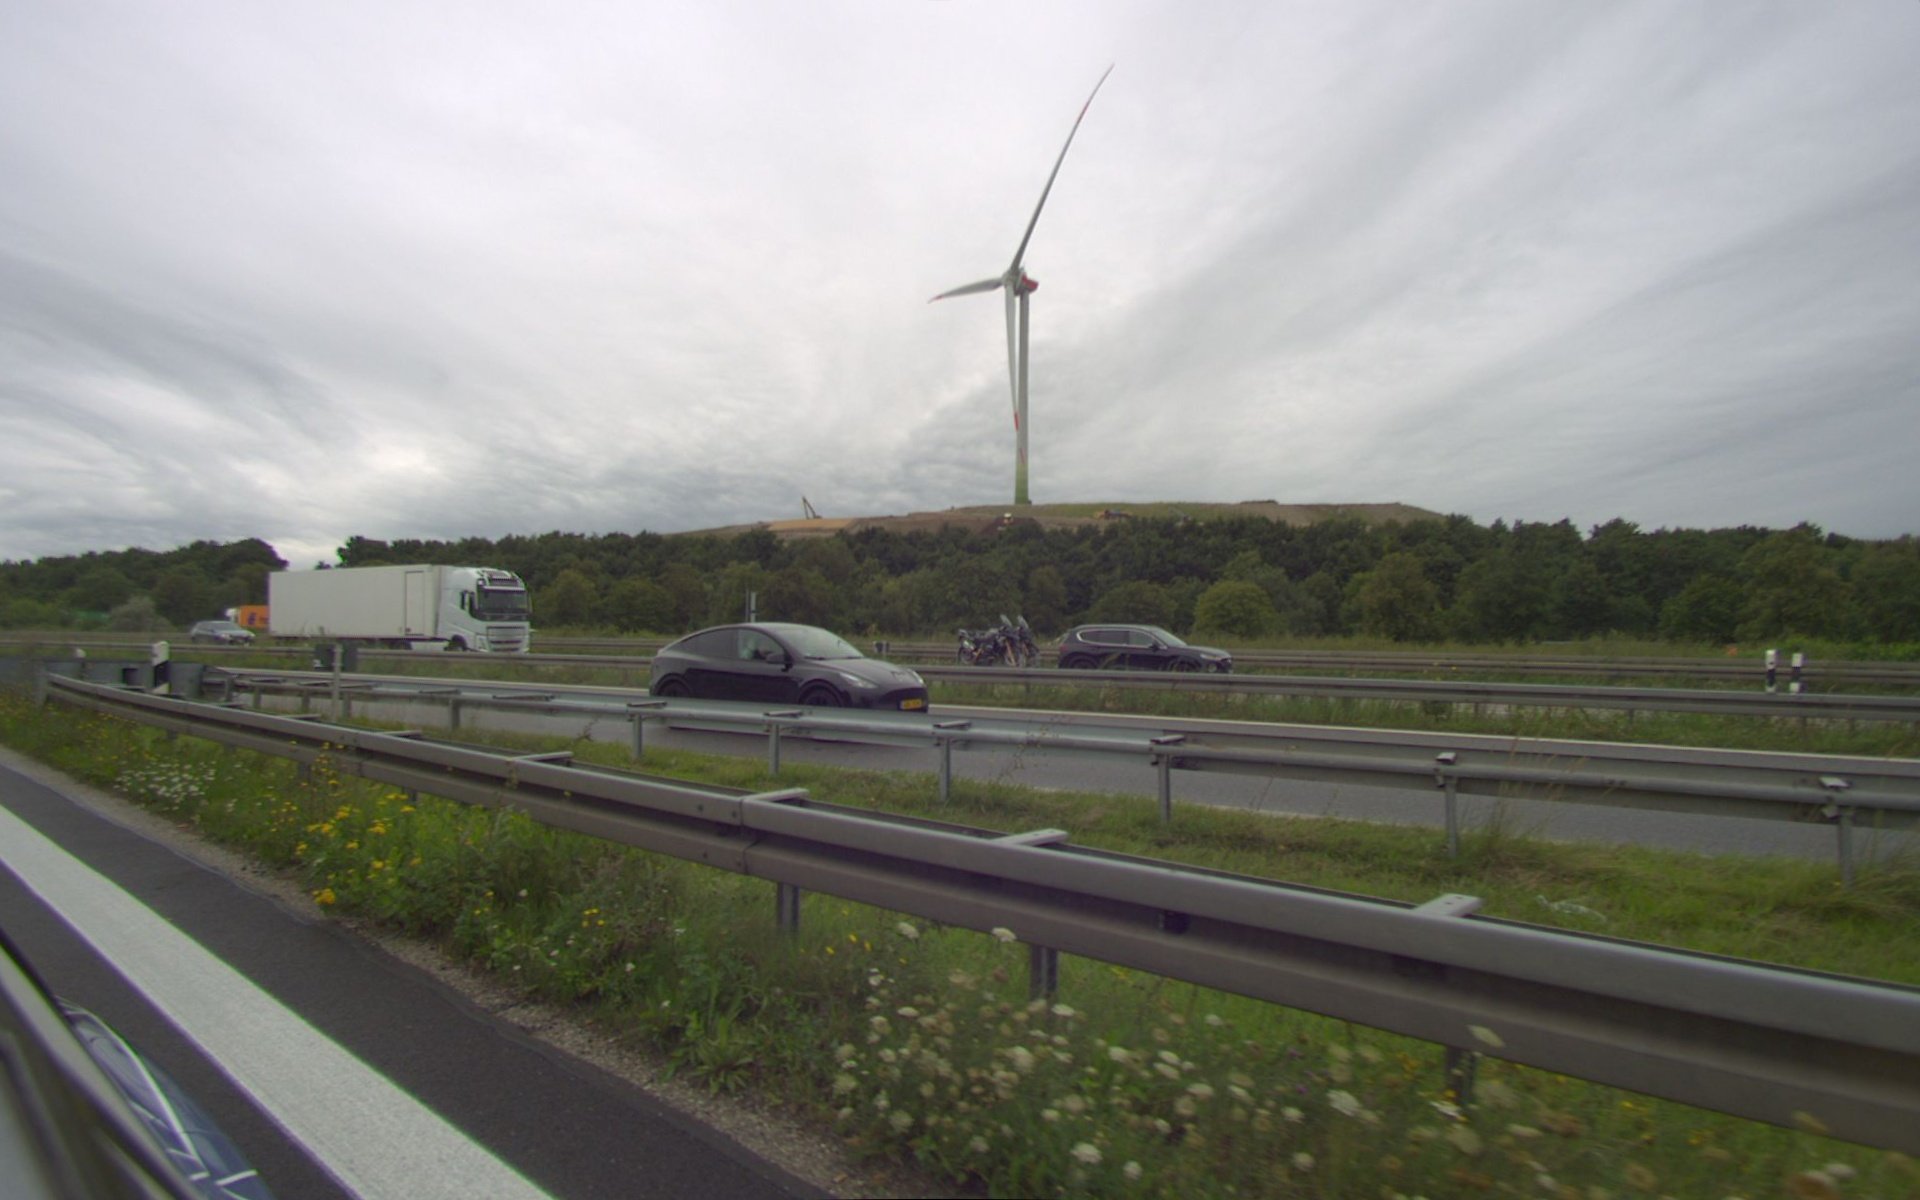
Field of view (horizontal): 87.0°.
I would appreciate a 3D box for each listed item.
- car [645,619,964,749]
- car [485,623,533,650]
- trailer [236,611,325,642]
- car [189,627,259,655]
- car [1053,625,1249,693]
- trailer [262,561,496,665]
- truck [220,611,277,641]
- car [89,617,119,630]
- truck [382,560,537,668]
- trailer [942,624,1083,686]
[{"bbox_3d":[-2.362,1.111,14.986,4.539,1.650,1.946,0,-1,32],"label":"car"},{"bbox_3d":[-40.739,3.274,91.415,3.985,2.394,2.007,-1,-2,31],"label":"car"},{"bbox_3d":[-71.276,2.756,106.058,12.519,3.097,2.666,0,-1,31],"label":"trailer"},{"bbox_3d":[-45.727,2.535,62.868,4.468,1.663,1.885,-1,-2,31],"label":"car"},{"bbox_3d":[5.004,1.491,26.787,4.790,1.638,1.868,0,-1,32],"label":"car"},{"bbox_3d":[-26.315,0.652,45.350,13.902,4.167,2.745,-1,-2,32],"label":"trailer"},{"bbox_3d":[-76.985,2.799,109.465,6.431,3.097,2.666,0,-1,31],"label":"truck"},{"bbox_3d":[-106.421,2.906,125.865,3.875,1.654,1.644,0,-1,30],"label":"car"},{"bbox_3d":[-20.780,0.610,41.950,6.422,4.167,2.745,-1,-2,31],"label":"truck"},{"bbox_3d":[1.485,1.518,28.973,3.598,1.638,1.868,0,-1,32],"label":"trailer"}]
